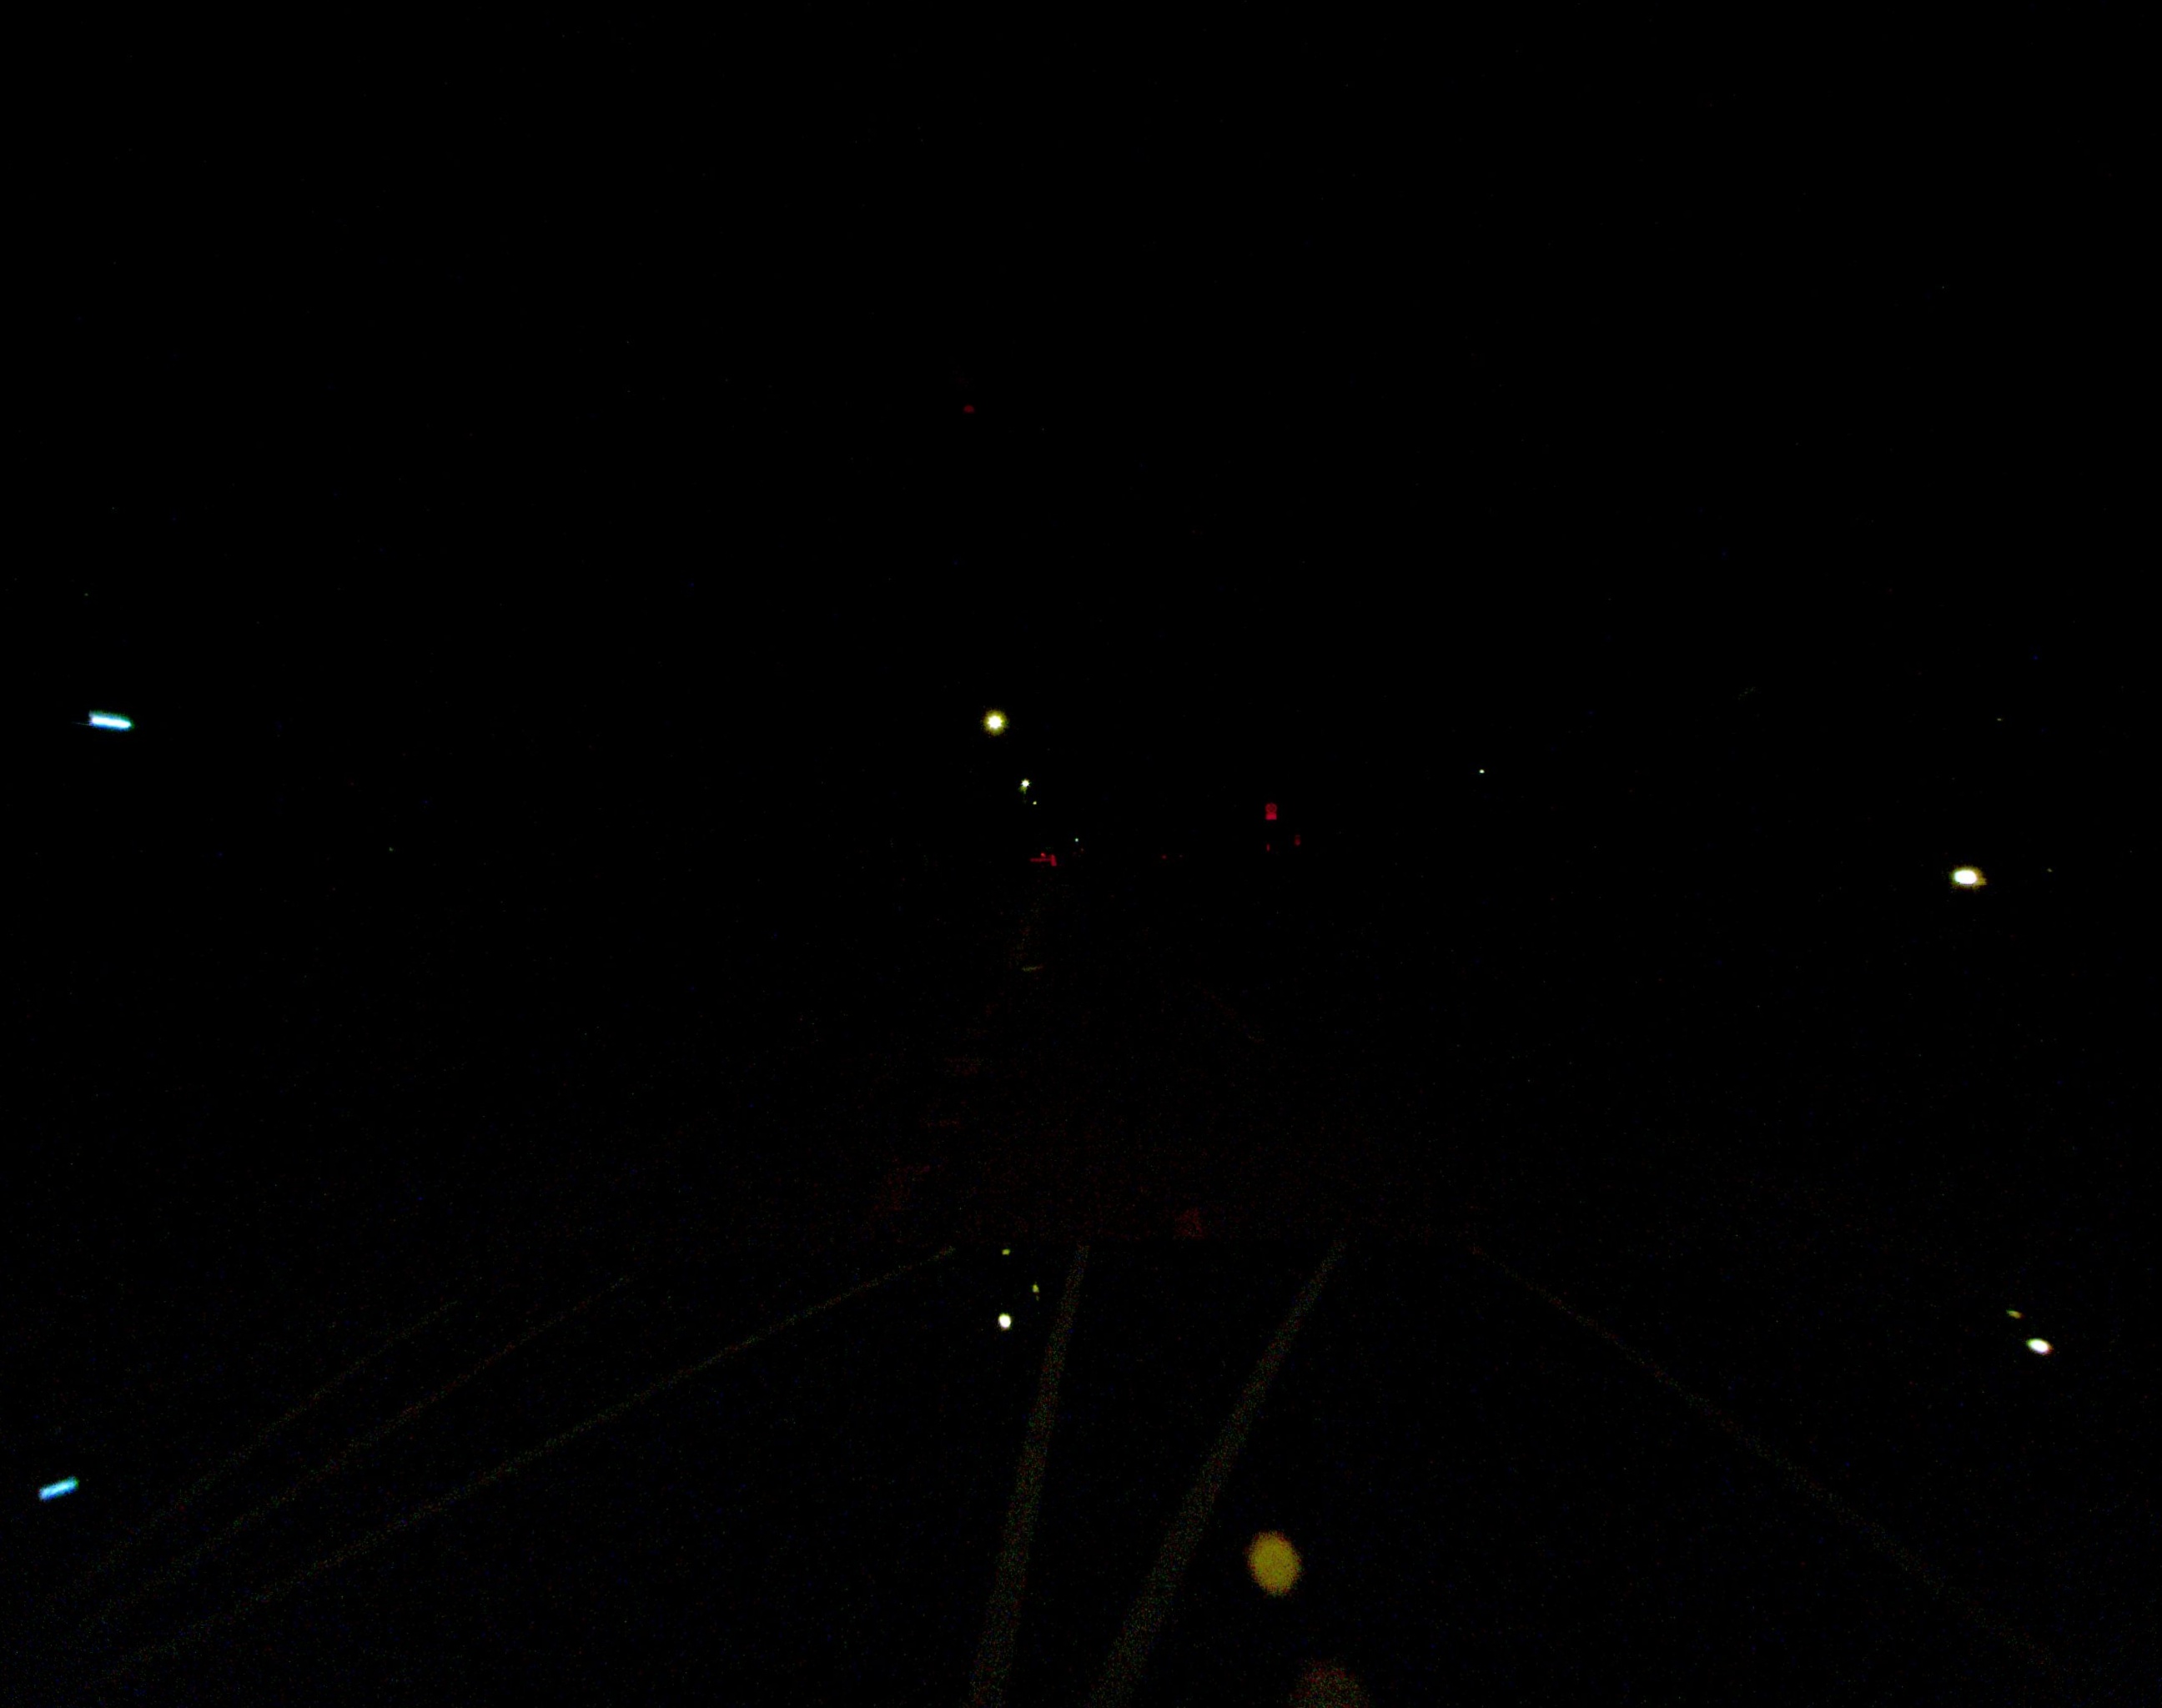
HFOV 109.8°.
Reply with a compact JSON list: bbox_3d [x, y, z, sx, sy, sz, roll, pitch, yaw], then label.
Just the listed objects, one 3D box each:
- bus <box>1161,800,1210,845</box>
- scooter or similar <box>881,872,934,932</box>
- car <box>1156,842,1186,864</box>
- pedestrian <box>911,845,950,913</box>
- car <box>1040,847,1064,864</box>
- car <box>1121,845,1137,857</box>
[{"bbox_3d":[17.543,-5.162,129.153,6.135,6.898,14.781,-2,1,1],"label":"bus"},{"bbox_3d":[-3.655,1.003,16.085,0.468,1.195,1.137,-2,-1,24],"label":"scooter or similar"},{"bbox_3d":[7.167,-0.101,60.830,1.806,1.583,3.999,-2,1,-2],"label":"car"},{"bbox_3d":[-4.252,0.679,21.512,0.819,1.854,1.034,-2,1,1],"label":"pedestrian"},{"bbox_3d":[-2.937,0.121,78.159,1.998,1.638,4.001,0,1,4],"label":"car"},{"bbox_3d":[6.258,-0.395,100.394,1.863,1.484,4.080,-2,1,1],"label":"car"}]
